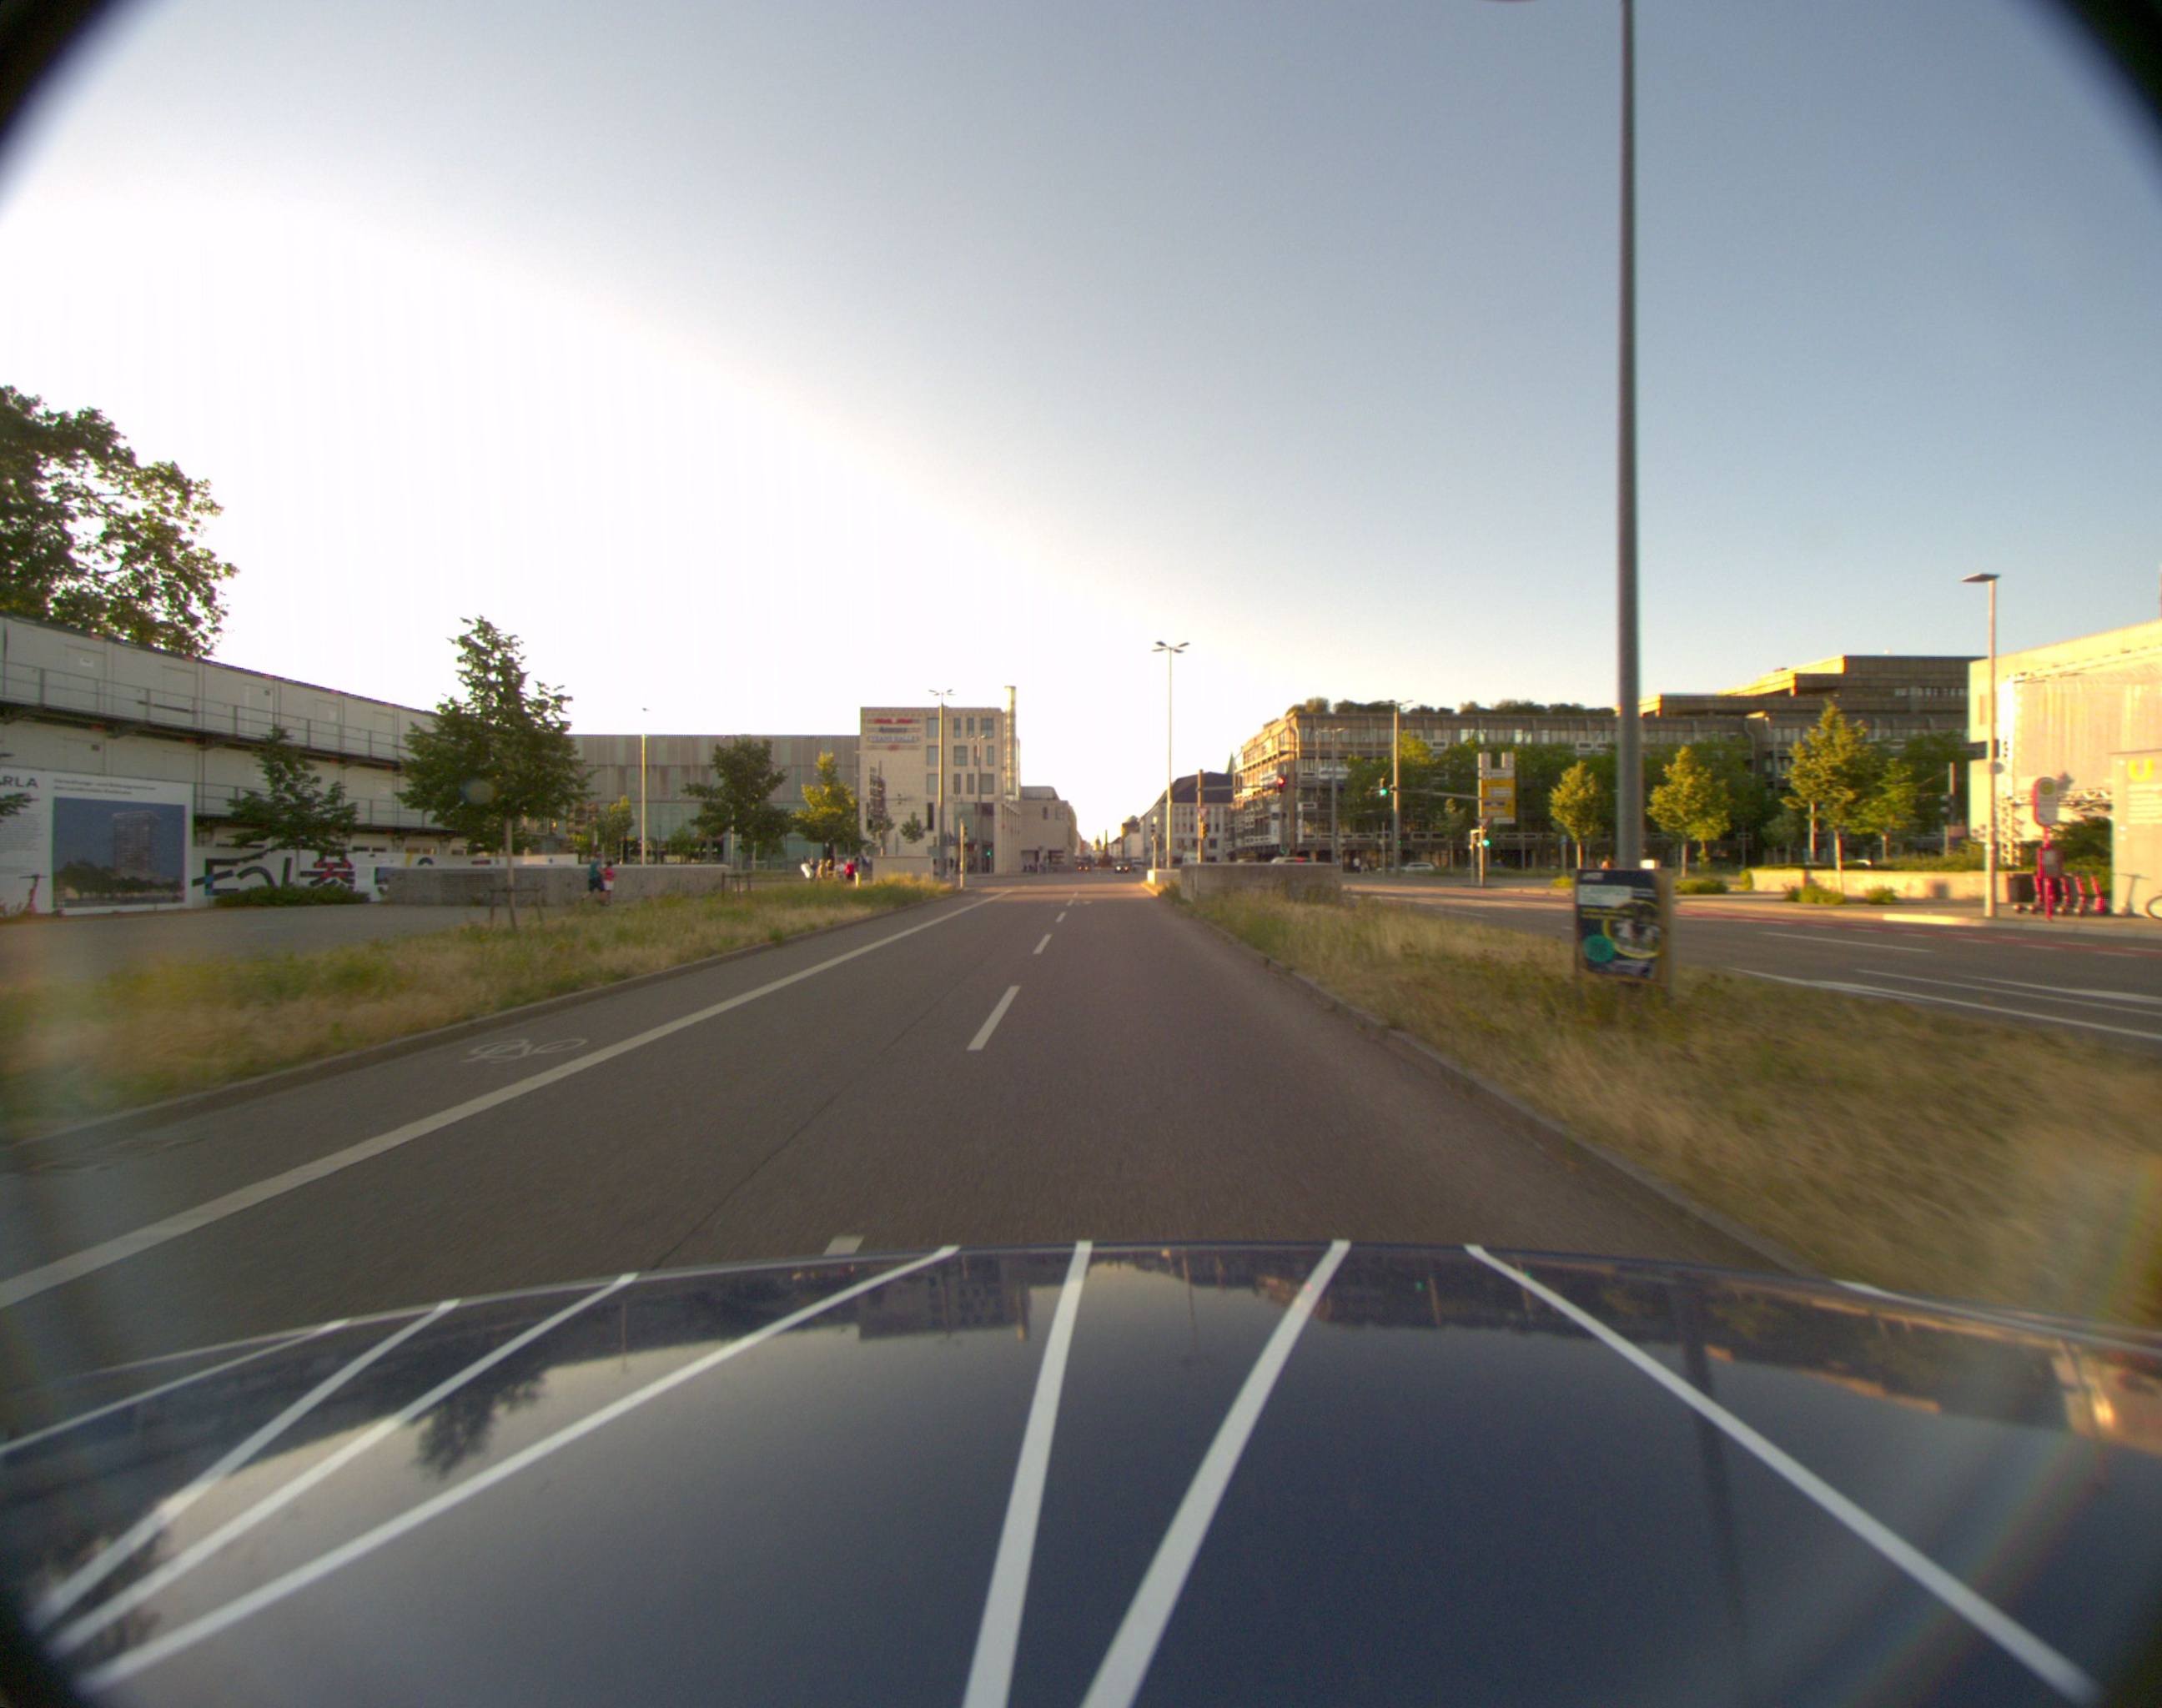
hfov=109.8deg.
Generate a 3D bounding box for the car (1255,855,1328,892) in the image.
[{"bbox_3d":[8.856,0.789,32.362,1.891,1.457,4.537,0,0,0],"label":"car"}]

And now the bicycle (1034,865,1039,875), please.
[{"bbox_3d":[-5.995,2.174,102.473,0.619,1.316,2.509,0,0,-1],"label":"bicycle"}]

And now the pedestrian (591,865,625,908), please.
[{"bbox_3d":[-16.573,1.139,26.630,0.762,1.481,0.645,0,-1,1],"label":"pedestrian"}]

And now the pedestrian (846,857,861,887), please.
[{"bbox_3d":[-12.999,1.021,43.432,0.644,1.702,0.871,0,-1,-2],"label":"pedestrian"}]

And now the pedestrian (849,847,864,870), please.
[{"bbox_3d":[-18.405,0.401,62.311,0.896,1.843,0.724,1,2,-33],"label":"pedestrian"}]

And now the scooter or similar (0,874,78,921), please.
[{"bbox_3d":[-27.751,1.158,20.161,1.573,1.213,0.474,0,1,-1],"label":"scooter or similar"}]

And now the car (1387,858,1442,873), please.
[{"bbox_3d":[36.441,1.293,83.169,5.160,1.575,2.000,0,0,1],"label":"car"}]

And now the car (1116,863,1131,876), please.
[{"bbox_3d":[5.827,2.120,104.401,2.071,1.641,4.000,0,1,2],"label":"car"}]

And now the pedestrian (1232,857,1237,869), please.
[{"bbox_3d":[22.332,1.326,110.748,0.651,1.702,0.650,0,0,3],"label":"pedestrian"}]

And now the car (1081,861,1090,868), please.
[{"bbox_3d":[1.035,2.348,172.919,2.071,1.641,4.001,0,-1,2],"label":"car"}]

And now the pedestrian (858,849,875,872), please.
[{"bbox_3d":[-17.519,0.535,62.006,0.892,1.843,1.007,3,2,13],"label":"pedestrian"}]

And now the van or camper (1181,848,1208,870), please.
[{"bbox_3d":[14.079,0.690,94.733,2.232,2.650,6.163,0,-1,-2],"label":"van or camper"}]

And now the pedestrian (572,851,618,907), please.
[{"bbox_3d":[-16.009,0.814,25.050,0.816,1.804,1.047,0,-1,6],"label":"pedestrian"}]

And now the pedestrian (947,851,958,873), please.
[{"bbox_3d":[-10.138,0.655,60.035,0.644,1.720,0.871,0,1,3],"label":"pedestrian"}]

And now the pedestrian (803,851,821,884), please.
[{"bbox_3d":[-14.195,0.699,40.045,0.644,1.702,0.763,0,-1,2],"label":"pedestrian"}]

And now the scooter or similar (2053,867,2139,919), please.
[{"bbox_3d":[26.175,1.005,19.596,1.841,1.297,0.423,0,1,-5],"label":"scooter or similar"}]

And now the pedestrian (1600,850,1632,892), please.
[{"bbox_3d":[23.716,0.756,33.670,0.874,1.826,0.776,0,1,2],"label":"pedestrian"}]

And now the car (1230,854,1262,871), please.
[{"bbox_3d":[15.278,0.752,70.601,1.640,1.518,3.997,0,0,-7],"label":"car"}]

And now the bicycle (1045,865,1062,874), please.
[{"bbox_3d":[-4.127,2.327,114.410,2.507,1.316,0.619,0,1,0],"label":"bicycle"}]

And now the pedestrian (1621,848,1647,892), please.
[{"bbox_3d":[24.567,0.699,33.779,0.661,1.921,0.648,0,0,2],"label":"pedestrian"}]

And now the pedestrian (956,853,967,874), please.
[{"bbox_3d":[-9.429,0.751,59.945,0.644,1.650,0.871,0,1,3],"label":"pedestrian"}]

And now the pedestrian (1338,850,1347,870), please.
[{"bbox_3d":[25.284,0.542,73.392,0.644,1.920,0.681,0,1,-2],"label":"pedestrian"}]

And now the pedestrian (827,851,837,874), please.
[{"bbox_3d":[-19.819,0.654,60.441,0.604,1.843,0.586,0,1,4],"label":"pedestrian"}]

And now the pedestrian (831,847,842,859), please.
[{"bbox_3d":[-19.785,-0.040,61.496,0.650,0.957,0.654,0,0,-4],"label":"pedestrian"}]

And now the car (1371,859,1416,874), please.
[{"bbox_3d":[35.509,1.416,86.352,4.398,1.641,1.858,0,-1,-1],"label":"car"}]

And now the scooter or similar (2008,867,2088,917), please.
[{"bbox_3d":[26.120,1.017,20.522,1.792,1.297,0.417,0,1,-5],"label":"scooter or similar"}]

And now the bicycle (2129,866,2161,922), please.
[{"bbox_3d":[26.315,0.971,17.592,0.619,1.316,2.509,0,0,-1],"label":"bicycle"}]

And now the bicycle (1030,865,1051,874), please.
[{"bbox_3d":[-5.568,2.168,104.647,2.804,1.208,0.765,0,-1,10],"label":"bicycle"}]

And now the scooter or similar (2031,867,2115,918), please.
[{"bbox_3d":[26.145,1.011,20.038,1.836,1.297,0.423,0,1,-5],"label":"scooter or similar"}]

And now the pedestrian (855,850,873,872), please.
[{"bbox_3d":[-17.358,0.581,60.835,0.868,1.714,1.009,3,2,27],"label":"pedestrian"}]

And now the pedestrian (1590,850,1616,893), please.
[{"bbox_3d":[23.793,0.785,34.651,0.633,1.922,0.776,-1,0,1],"label":"pedestrian"}]

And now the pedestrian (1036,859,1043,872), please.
[{"bbox_3d":[-5.130,1.434,94.208,0.764,1.696,0.834,0,-1,-1],"label":"pedestrian"}]

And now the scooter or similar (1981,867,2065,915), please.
[{"bbox_3d":[26.056,1.010,21.028,1.863,1.297,0.500,0,1,-5],"label":"scooter or similar"}]

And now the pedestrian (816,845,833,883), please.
[{"bbox_3d":[-12.871,0.506,38.156,0.644,1.922,0.619,0,1,3],"label":"pedestrian"}]
